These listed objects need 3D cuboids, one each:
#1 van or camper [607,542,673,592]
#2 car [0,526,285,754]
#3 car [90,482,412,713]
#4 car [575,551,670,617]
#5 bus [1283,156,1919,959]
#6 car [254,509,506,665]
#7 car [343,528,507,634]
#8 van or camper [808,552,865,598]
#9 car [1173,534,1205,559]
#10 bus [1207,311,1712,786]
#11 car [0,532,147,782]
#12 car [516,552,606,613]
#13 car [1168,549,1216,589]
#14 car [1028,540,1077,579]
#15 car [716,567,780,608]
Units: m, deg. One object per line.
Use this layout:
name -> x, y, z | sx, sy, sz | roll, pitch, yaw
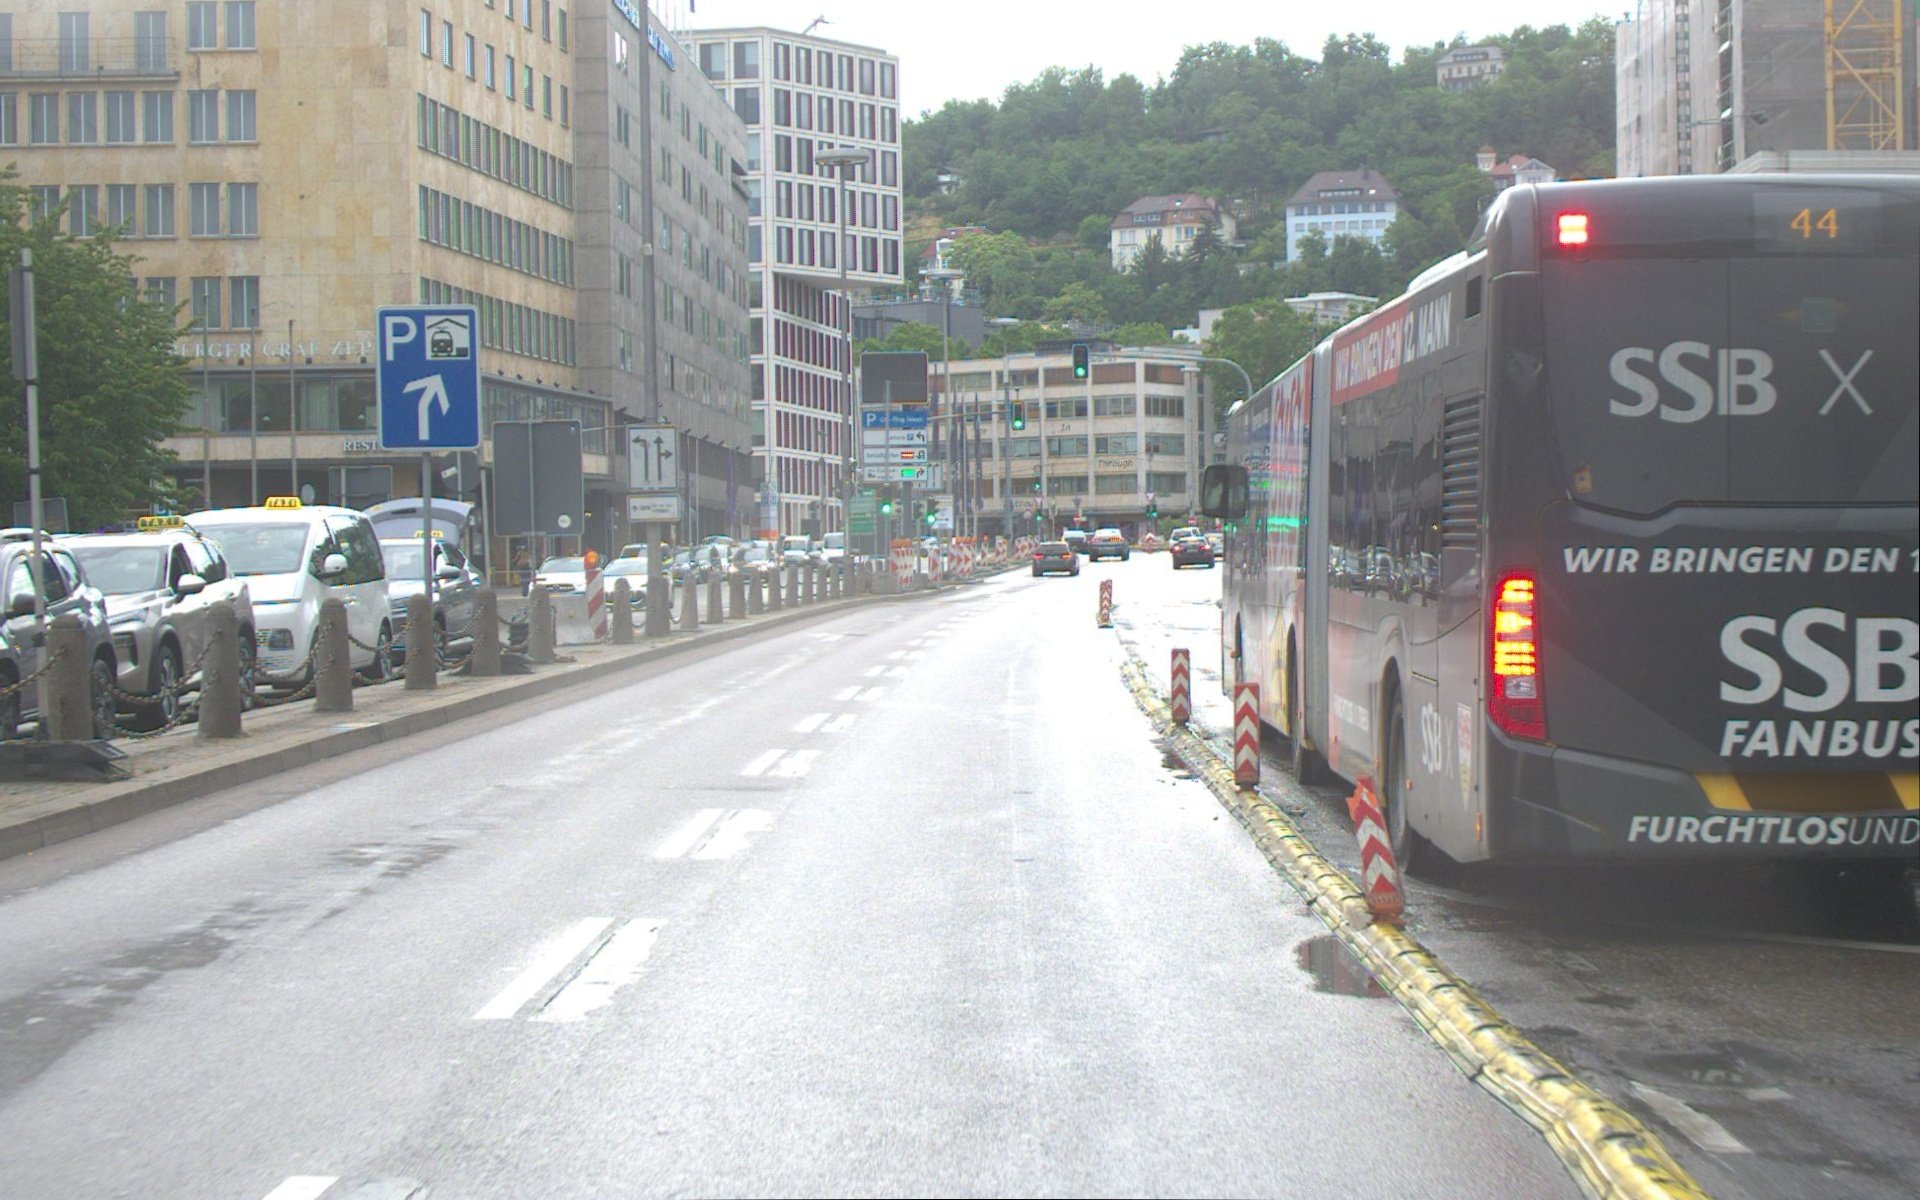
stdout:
van or camper -> -13.190, -1.394, 141.950 | 1.994, 2.007, 4.965 | -1, 1, 3
car -> -7.446, 0.298, 30.225 | 1.930, 1.800, 4.582 | -2, 1, 2
car -> -7.238, -0.095, 35.716 | 1.993, 2.171, 5.544 | -1, 1, 2
car -> -9.137, -0.446, 93.440 | 1.962, 1.559, 4.836 | -3, 2, 1
bus -> 3.396, -0.236, 17.678 | 2.755, 3.058, 9.080 | 0, 1, 1
car -> -6.838, -0.207, 41.027 | 1.993, 1.716, 4.782 | -1, 1, 2
car -> -8.277, -0.316, 53.511 | 1.993, 1.546, 4.000 | -1, 1, -2
van or camper -> -5.606, -1.148, 156.245 | 1.994, 2.007, 5.188 | -1, 1, 4
car -> 13.968, -3.262, 209.873 | 1.819, 1.437, 4.000 | 1, 2, 3
bus -> 3.553, -0.411, 26.734 | 2.755, 3.055, 8.993 | 0, 1, 1
car -> -7.506, 0.393, 25.112 | 1.929, 1.693, 4.885 | -2, 1, 0
car -> -11.761, -0.540, 101.621 | 1.962, 1.559, 4.836 | -3, 2, 1
car -> 10.343, -1.399, 153.305 | 1.994, 1.700, 4.000 | -1, 1, 3
car -> 3.875, -1.708, 143.633 | 1.993, 1.546, 4.000 | -1, 1, 2
car -> -8.957, -0.540, 145.487 | 1.994, 1.611, 4.977 | -1, 1, 4
